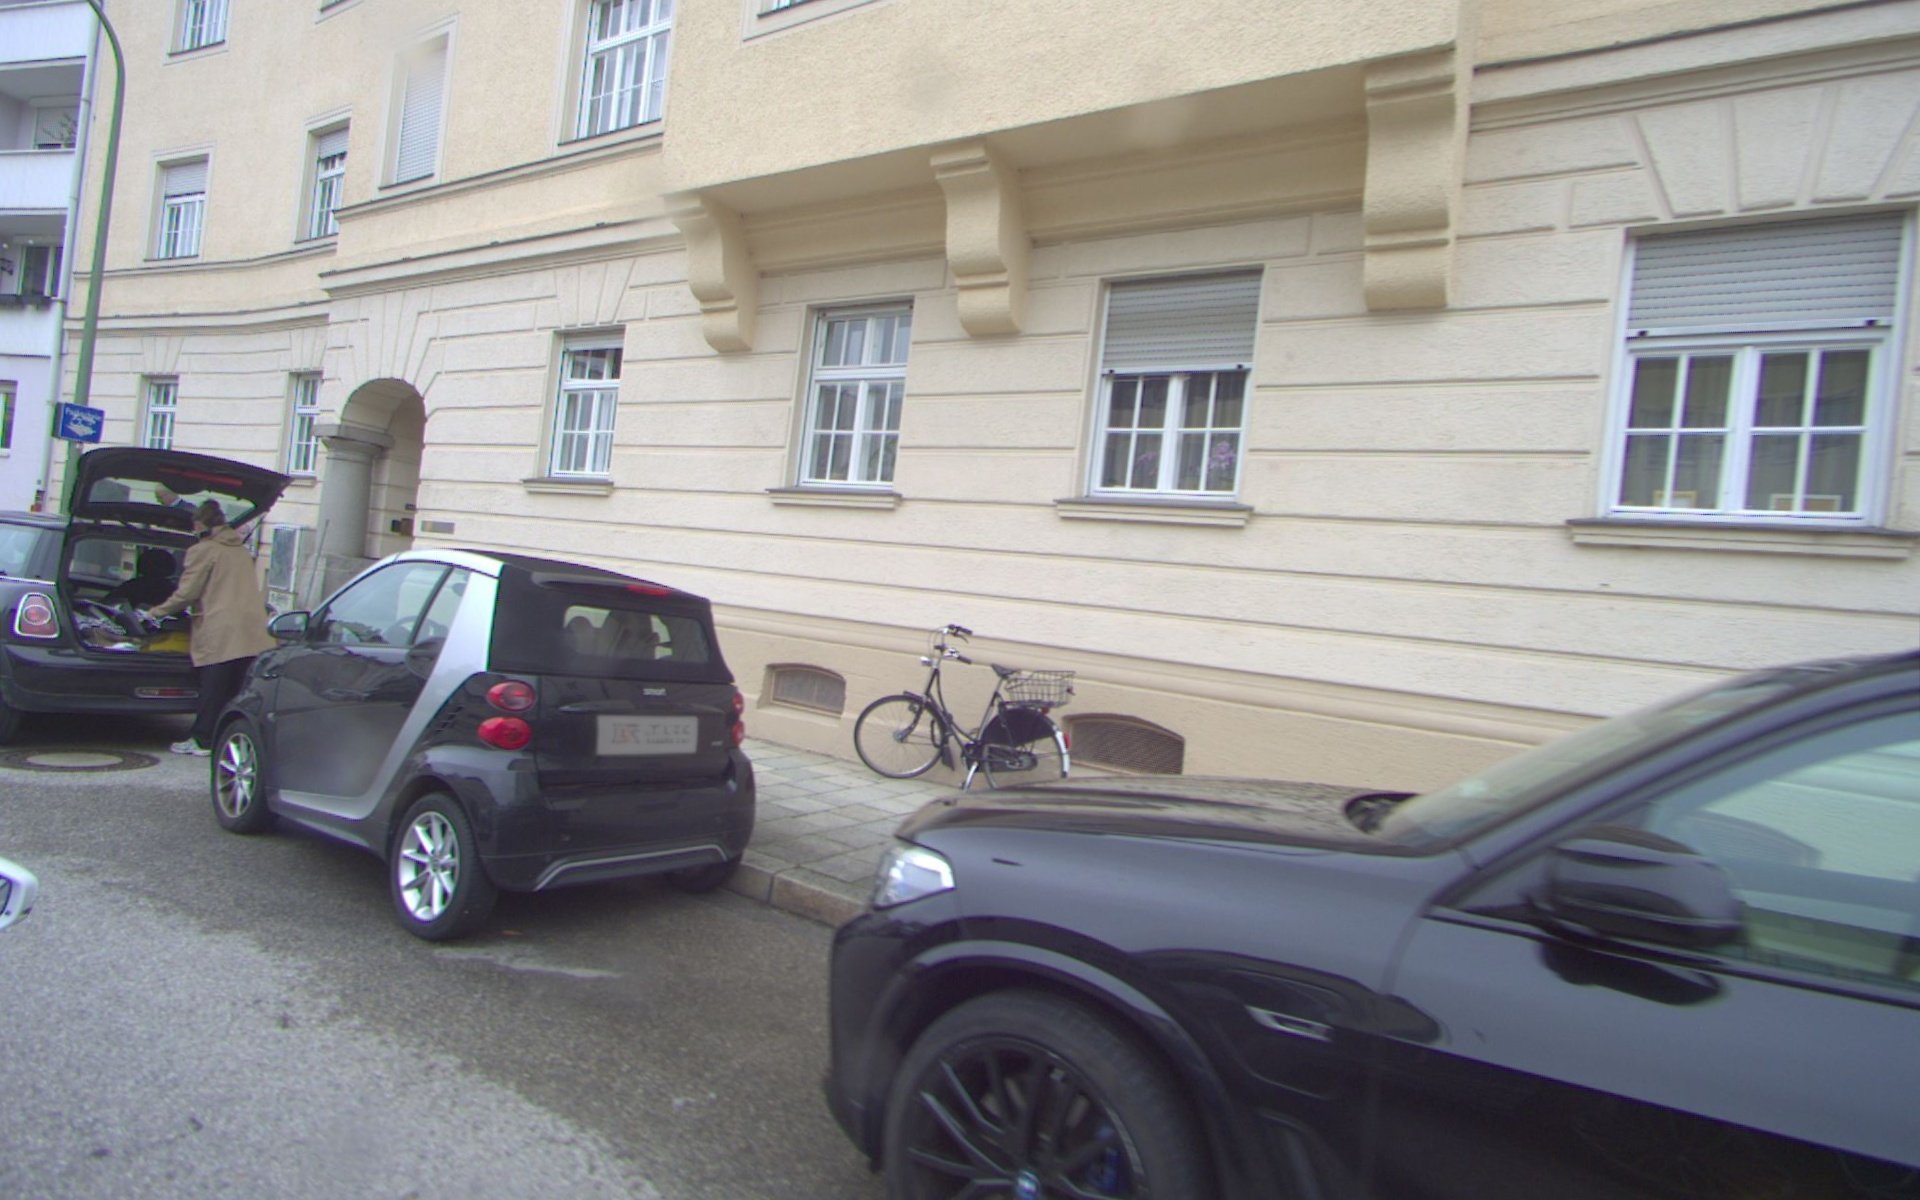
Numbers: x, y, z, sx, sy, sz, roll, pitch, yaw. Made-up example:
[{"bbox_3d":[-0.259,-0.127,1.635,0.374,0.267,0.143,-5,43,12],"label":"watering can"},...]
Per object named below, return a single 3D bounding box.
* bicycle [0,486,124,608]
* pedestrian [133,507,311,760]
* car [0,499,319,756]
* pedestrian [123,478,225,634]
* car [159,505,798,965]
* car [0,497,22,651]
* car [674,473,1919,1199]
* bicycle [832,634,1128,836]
[{"bbox_3d":[-10.704,-0.637,11.921,1.643,1.273,0.637,6,-1,31],"label":"bicycle"},{"bbox_3d":[-4.863,0.222,6.641,0.568,1.546,0.629,7,-1,31],"label":"pedestrian"},{"bbox_3d":[-6.522,0.052,7.215,3.617,1.434,1.634,7,-1,30],"label":"car"},{"bbox_3d":[-9.120,-0.507,11.668,0.904,1.713,0.617,6,3,33],"label":"pedestrian"},{"bbox_3d":[-2.535,0.495,5.170,2.970,1.573,1.516,7,-1,34],"label":"car"},{"bbox_3d":[-11.881,-0.585,10.217,4.861,1.495,1.913,7,-1,29],"label":"car"},{"bbox_3d":[2.031,0.909,2.070,4.942,1.759,2.173,7,-2,33],"label":"car"},{"bbox_3d":[0.082,0.890,7.200,2.103,1.063,0.501,7,3,34],"label":"bicycle"}]
